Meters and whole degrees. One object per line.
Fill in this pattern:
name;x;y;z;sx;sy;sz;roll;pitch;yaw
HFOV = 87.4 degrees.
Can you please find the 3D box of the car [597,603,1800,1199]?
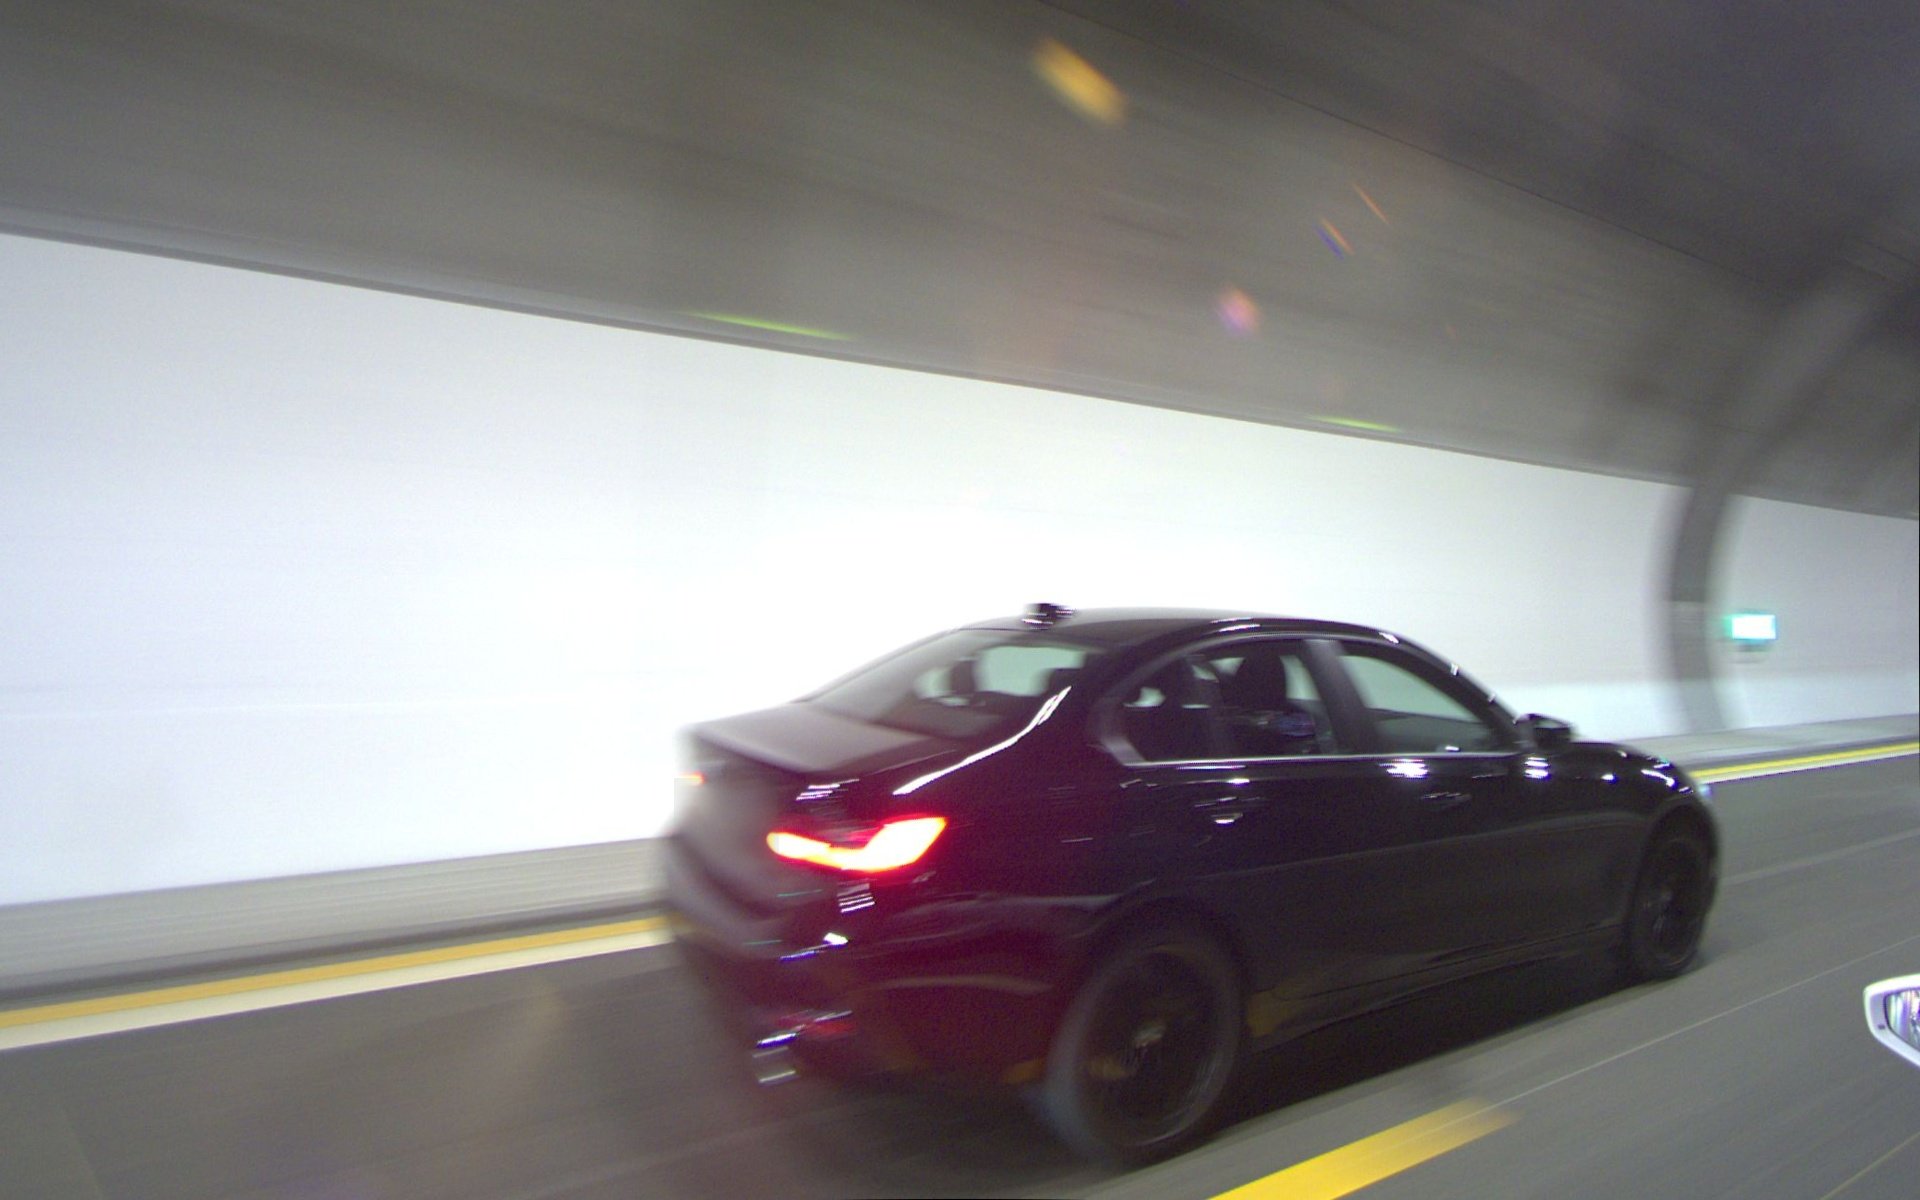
car;1.249;0.792;4.006;4.827;1.457;1.769;1;0;-32
